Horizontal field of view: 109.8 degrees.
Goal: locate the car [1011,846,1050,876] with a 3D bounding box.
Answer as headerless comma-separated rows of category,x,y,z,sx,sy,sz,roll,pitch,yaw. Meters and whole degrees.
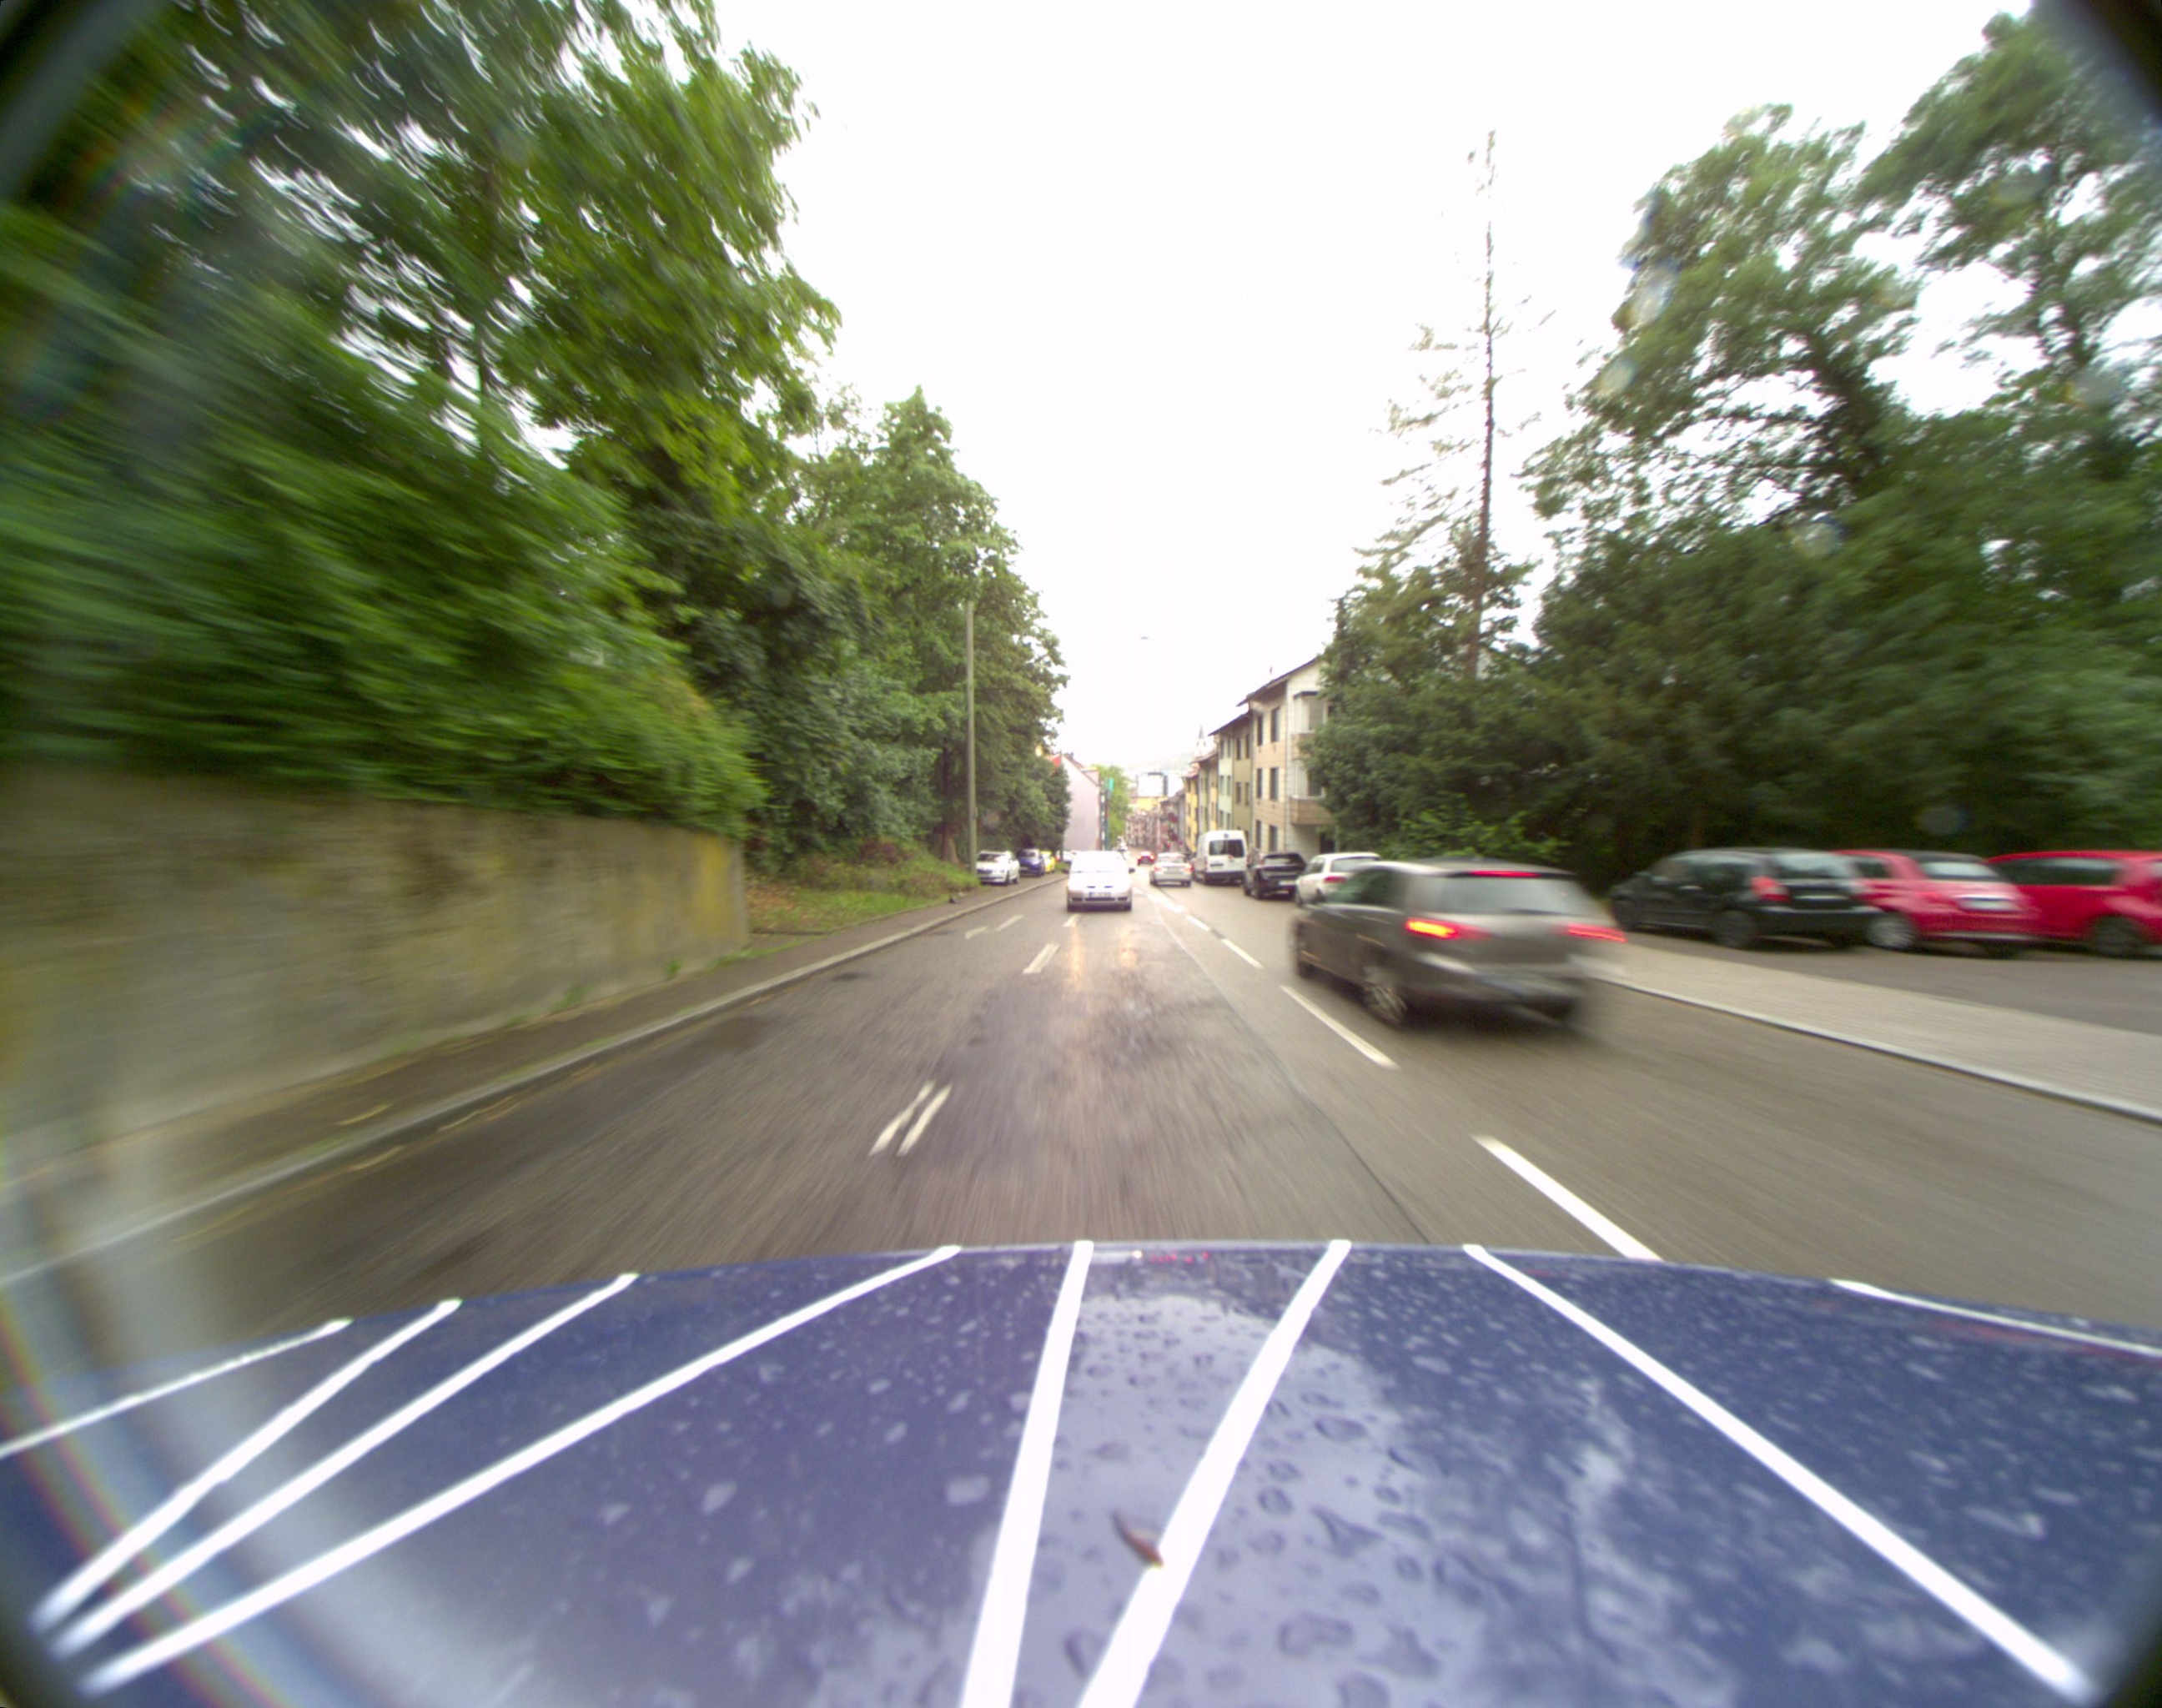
car,-2.930,0.369,44.879,1.769,1.614,4.679,0,1,3

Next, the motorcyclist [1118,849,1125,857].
motorcyclist,5.244,-0.125,98.843,0.778,1.120,0.549,-2,1,6

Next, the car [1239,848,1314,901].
car,6.454,0.615,25.518,1.648,1.595,4.186,2,1,4

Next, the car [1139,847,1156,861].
car,7.882,-0.063,90.763,1.940,1.615,4.500,0,1,4

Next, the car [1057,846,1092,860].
car,-0.769,-0.094,95.053,4.192,1.565,1.804,3,1,3

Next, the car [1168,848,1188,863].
car,10.367,0.130,81.494,1.908,1.528,4.001,1,1,4

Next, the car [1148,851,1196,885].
car,4.088,0.592,34.749,1.729,1.427,3.912,2,1,1

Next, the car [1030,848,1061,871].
car,-2.406,0.376,52.399,1.567,1.459,3.899,2,1,4

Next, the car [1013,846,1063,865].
car,-3.816,0.157,67.914,4.192,1.584,1.804,-1,1,4

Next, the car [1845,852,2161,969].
car,14.592,0.709,11.619,1.599,1.450,4.242,0,1,2

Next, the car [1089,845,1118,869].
car,1.641,0.183,54.699,1.998,1.603,3.967,-1,1,3

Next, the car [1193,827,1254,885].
car,6.790,0.083,36.775,2.122,2.536,5.445,2,1,3

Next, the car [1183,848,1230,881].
car,7.173,0.553,43.848,1.970,1.729,4.885,2,1,2

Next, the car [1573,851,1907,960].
car,10.295,0.689,12.438,1.727,1.450,4.396,0,1,2

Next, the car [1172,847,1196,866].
car,8.985,0.155,66.553,1.696,1.584,4.000,1,1,3

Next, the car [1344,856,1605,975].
car,6.185,0.842,12.729,1.864,1.485,4.755,3,1,1

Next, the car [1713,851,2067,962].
car,12.358,0.698,12.026,1.625,1.450,3.774,0,1,2

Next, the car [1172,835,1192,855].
car,13.453,-1.193,101.572,2.122,2.536,5.445,2,1,3

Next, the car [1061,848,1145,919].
car,0.676,0.686,19.916,1.825,1.603,4.190,-1,1,6

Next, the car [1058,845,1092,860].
car,-0.735,-0.179,97.563,4.192,1.635,1.803,3,2,3

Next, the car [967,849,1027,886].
car,-3.679,0.542,34.110,1.742,1.469,4.741,2,1,5

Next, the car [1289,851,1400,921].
car,6.565,0.713,19.362,1.659,1.560,4.149,0,0,4

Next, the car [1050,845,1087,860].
car,-1.524,-0.136,90.409,4.192,1.565,1.804,3,1,3

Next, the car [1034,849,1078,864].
car,-2.465,0.219,75.637,4.192,1.408,1.804,1,1,3

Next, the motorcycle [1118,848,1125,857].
motorcycle,5.245,-0.171,98.843,0.778,1.120,2.300,-2,1,6

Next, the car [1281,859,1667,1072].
car,3.419,0.838,7.596,1.765,1.482,3.999,1,1,0
